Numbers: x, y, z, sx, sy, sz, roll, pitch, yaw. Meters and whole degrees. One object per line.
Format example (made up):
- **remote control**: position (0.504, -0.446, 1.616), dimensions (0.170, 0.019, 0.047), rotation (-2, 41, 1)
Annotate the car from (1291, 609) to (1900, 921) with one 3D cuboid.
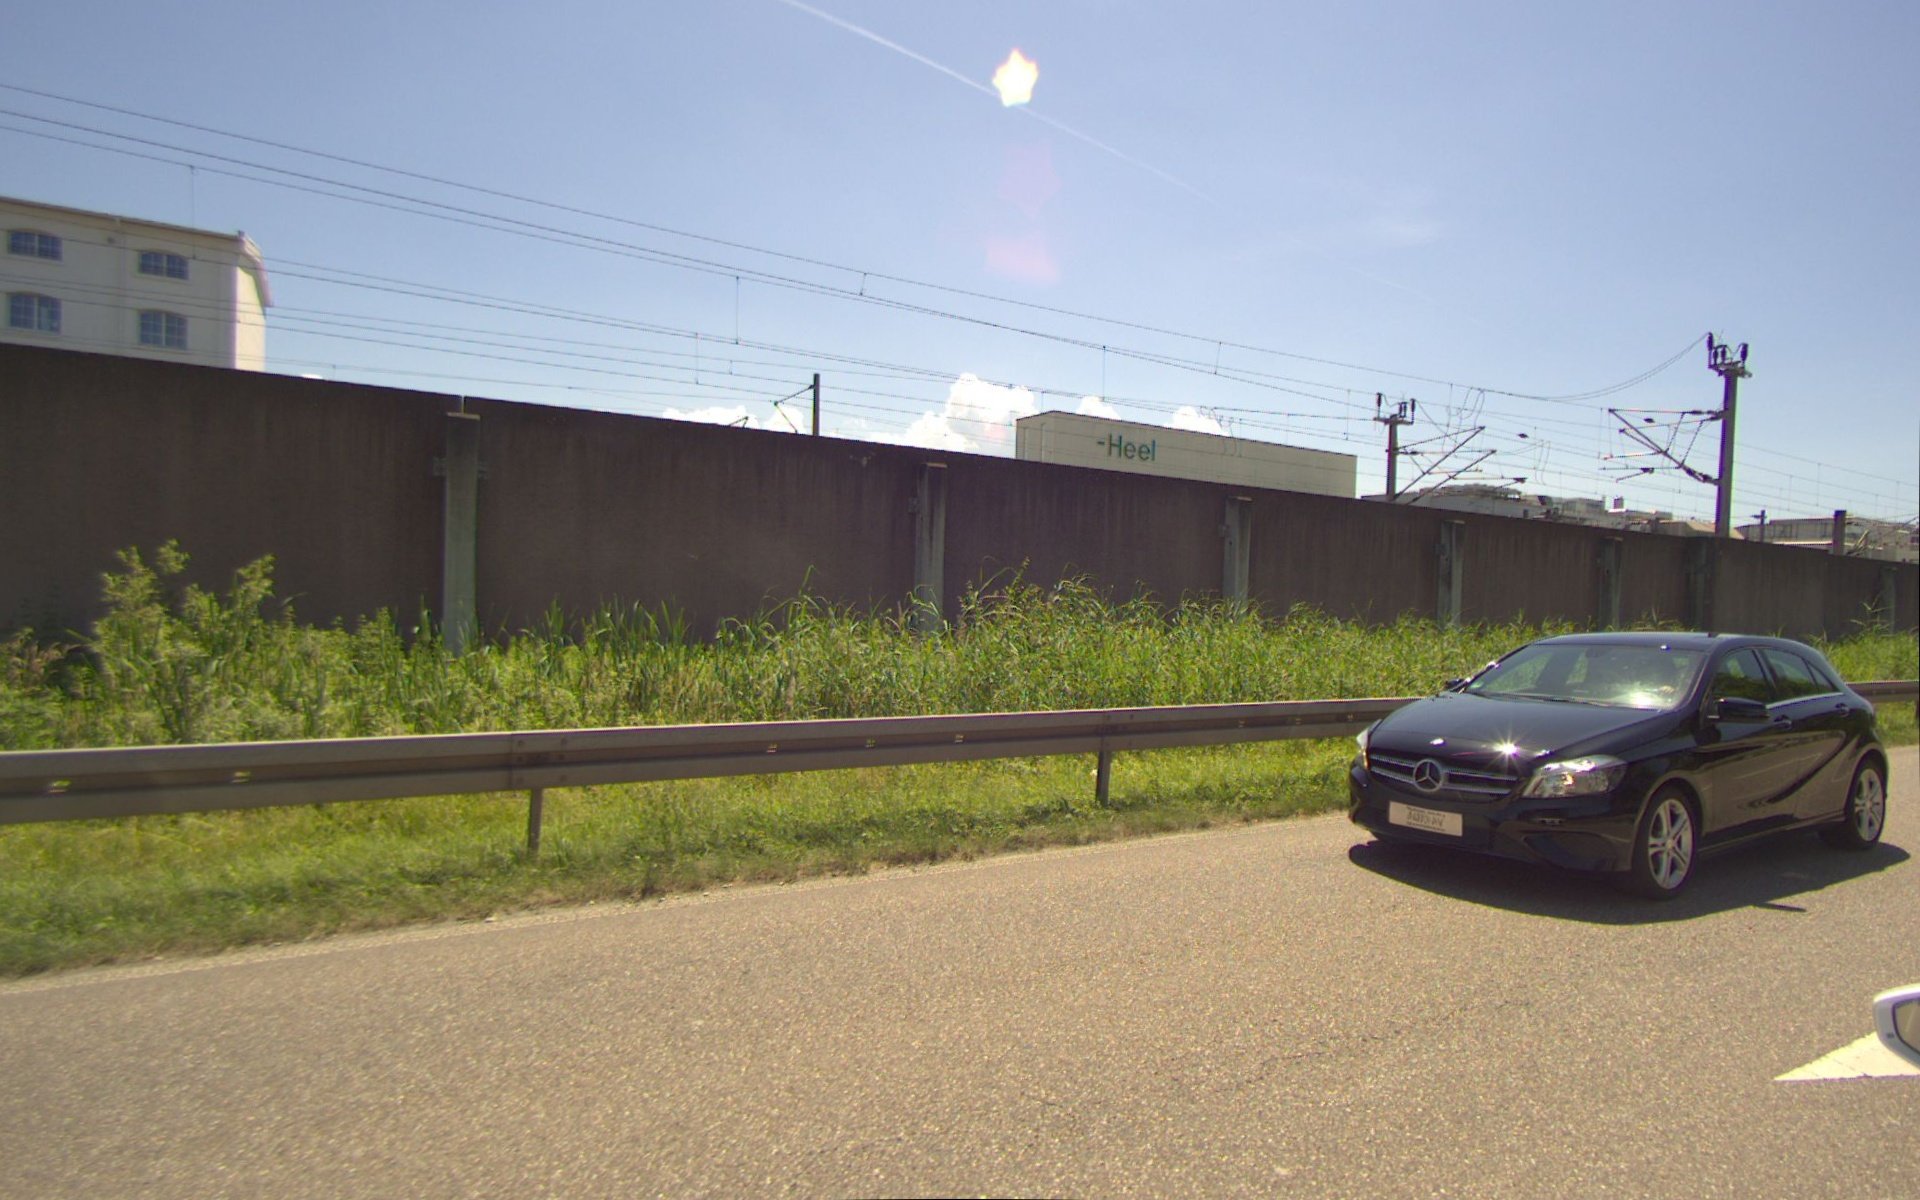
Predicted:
- **car**: position (4.375, 0.868, 6.818), dimensions (3.955, 1.528, 1.983), rotation (2, -1, -32)
